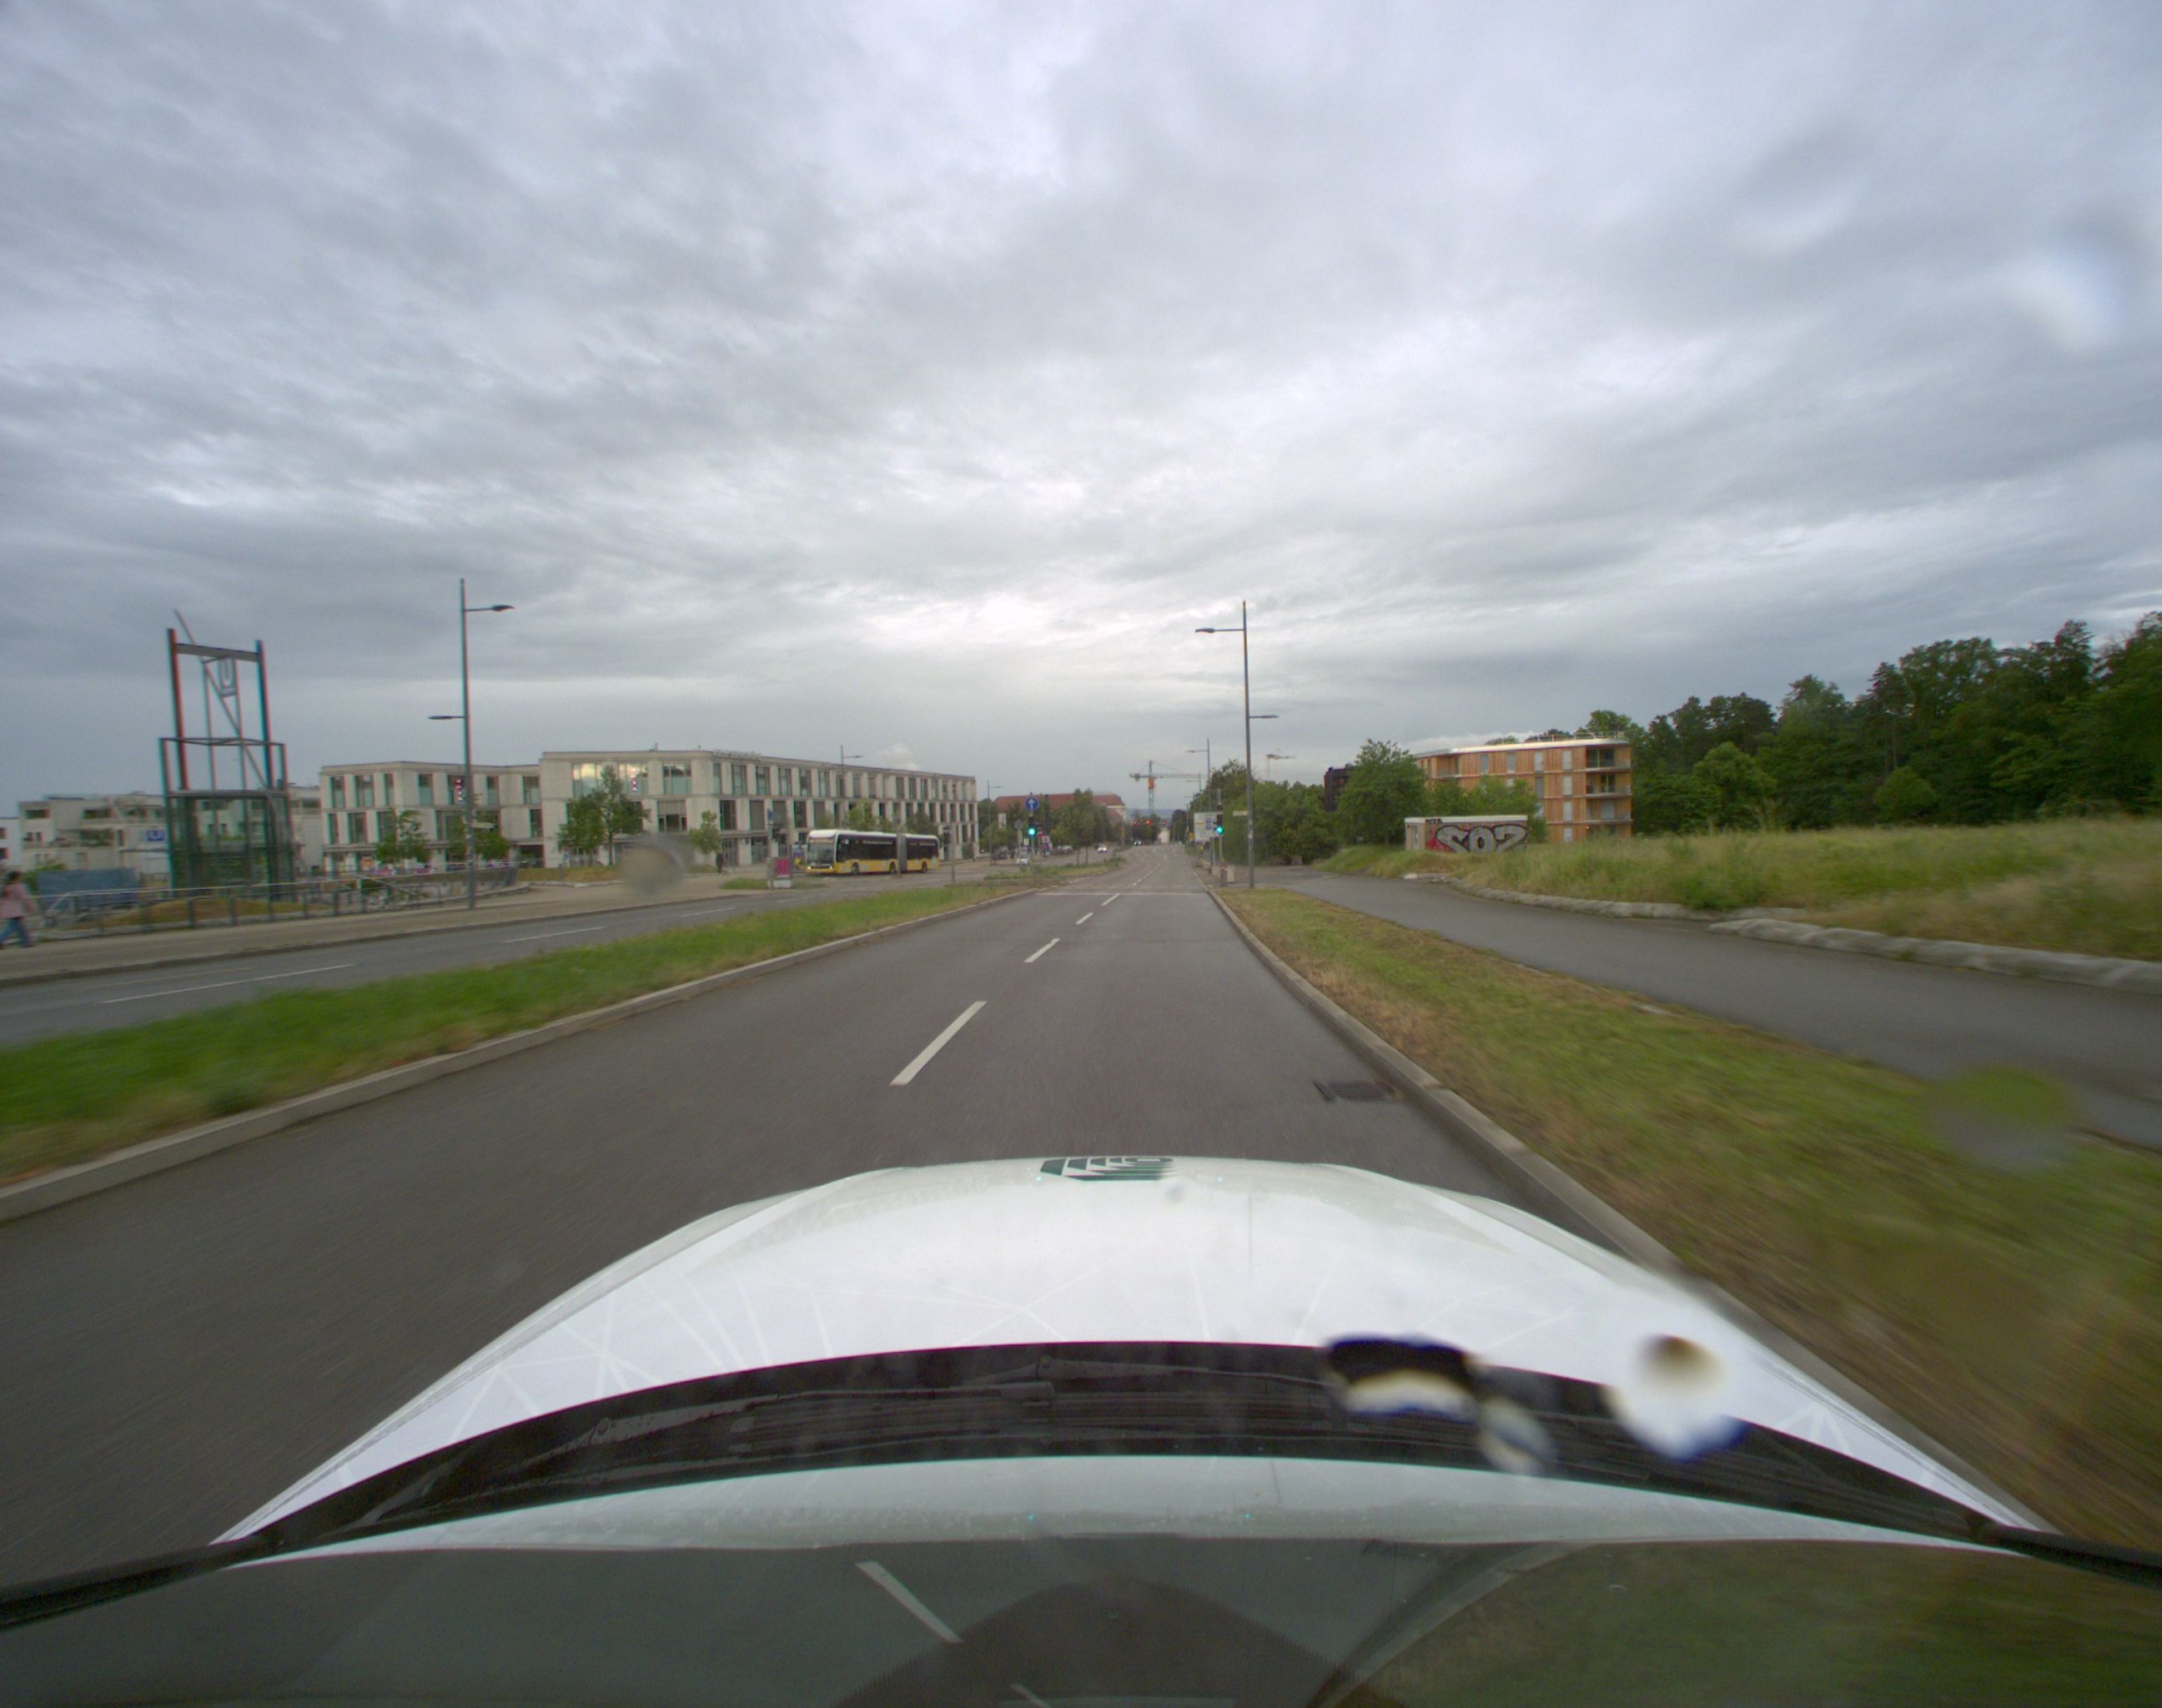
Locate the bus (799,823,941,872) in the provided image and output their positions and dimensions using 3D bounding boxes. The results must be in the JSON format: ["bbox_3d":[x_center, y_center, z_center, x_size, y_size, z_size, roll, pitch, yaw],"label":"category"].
[{"bbox_3d":[-16.450,-0.333,66.386,2.765,3.357,18.294,-2,-1,14],"label":"bus"}]

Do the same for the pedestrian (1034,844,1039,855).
[{"bbox_3d":[-8.329,-0.927,152.707,0.749,2.014,0.835,-1,-1,-11],"label":"pedestrian"}]

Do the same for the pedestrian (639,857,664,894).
[{"bbox_3d":[-18.429,0.912,34.944,0.836,1.573,0.715,-1,-1,-18],"label":"pedestrian"}]

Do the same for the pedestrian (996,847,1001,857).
[{"bbox_3d":[-13.572,-0.322,134.379,0.834,1.532,0.749,-1,-1,-7],"label":"pedestrian"}]

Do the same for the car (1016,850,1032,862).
[{"bbox_3d":[-7.574,0.254,107.931,1.468,1.494,2.538,-2,-1,12],"label":"car"}]

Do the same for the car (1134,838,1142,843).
[{"bbox_3d":[17.087,-4.088,243.330,1.758,1.494,4.081,-2,-1,12],"label":"car"}]

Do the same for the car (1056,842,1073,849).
[{"bbox_3d":[-4.201,-2.108,208.120,3.851,1.494,1.741,-2,-1,8],"label":"car"}]

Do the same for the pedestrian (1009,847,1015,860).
[{"bbox_3d":[-10.697,-0.035,125.675,0.749,1.947,0.835,-1,-1,-11],"label":"pedestrian"}]

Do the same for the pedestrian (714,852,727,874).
[{"bbox_3d":[-25.775,0.661,58.280,0.683,1.524,0.716,-1,-1,-12],"label":"pedestrian"}]

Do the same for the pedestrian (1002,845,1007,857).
[{"bbox_3d":[-12.607,-0.474,134.119,0.749,1.853,0.835,-1,-1,-11],"label":"pedestrian"}]

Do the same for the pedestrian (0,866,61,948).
[{"bbox_3d":[-21.868,1.074,16.667,0.811,1.621,0.935,-2,-1,-1],"label":"pedestrian"}]

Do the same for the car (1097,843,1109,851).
[{"bbox_3d":[4.714,-1.452,173.696,1.758,1.494,4.080,-2,-1,11],"label":"car"}]
